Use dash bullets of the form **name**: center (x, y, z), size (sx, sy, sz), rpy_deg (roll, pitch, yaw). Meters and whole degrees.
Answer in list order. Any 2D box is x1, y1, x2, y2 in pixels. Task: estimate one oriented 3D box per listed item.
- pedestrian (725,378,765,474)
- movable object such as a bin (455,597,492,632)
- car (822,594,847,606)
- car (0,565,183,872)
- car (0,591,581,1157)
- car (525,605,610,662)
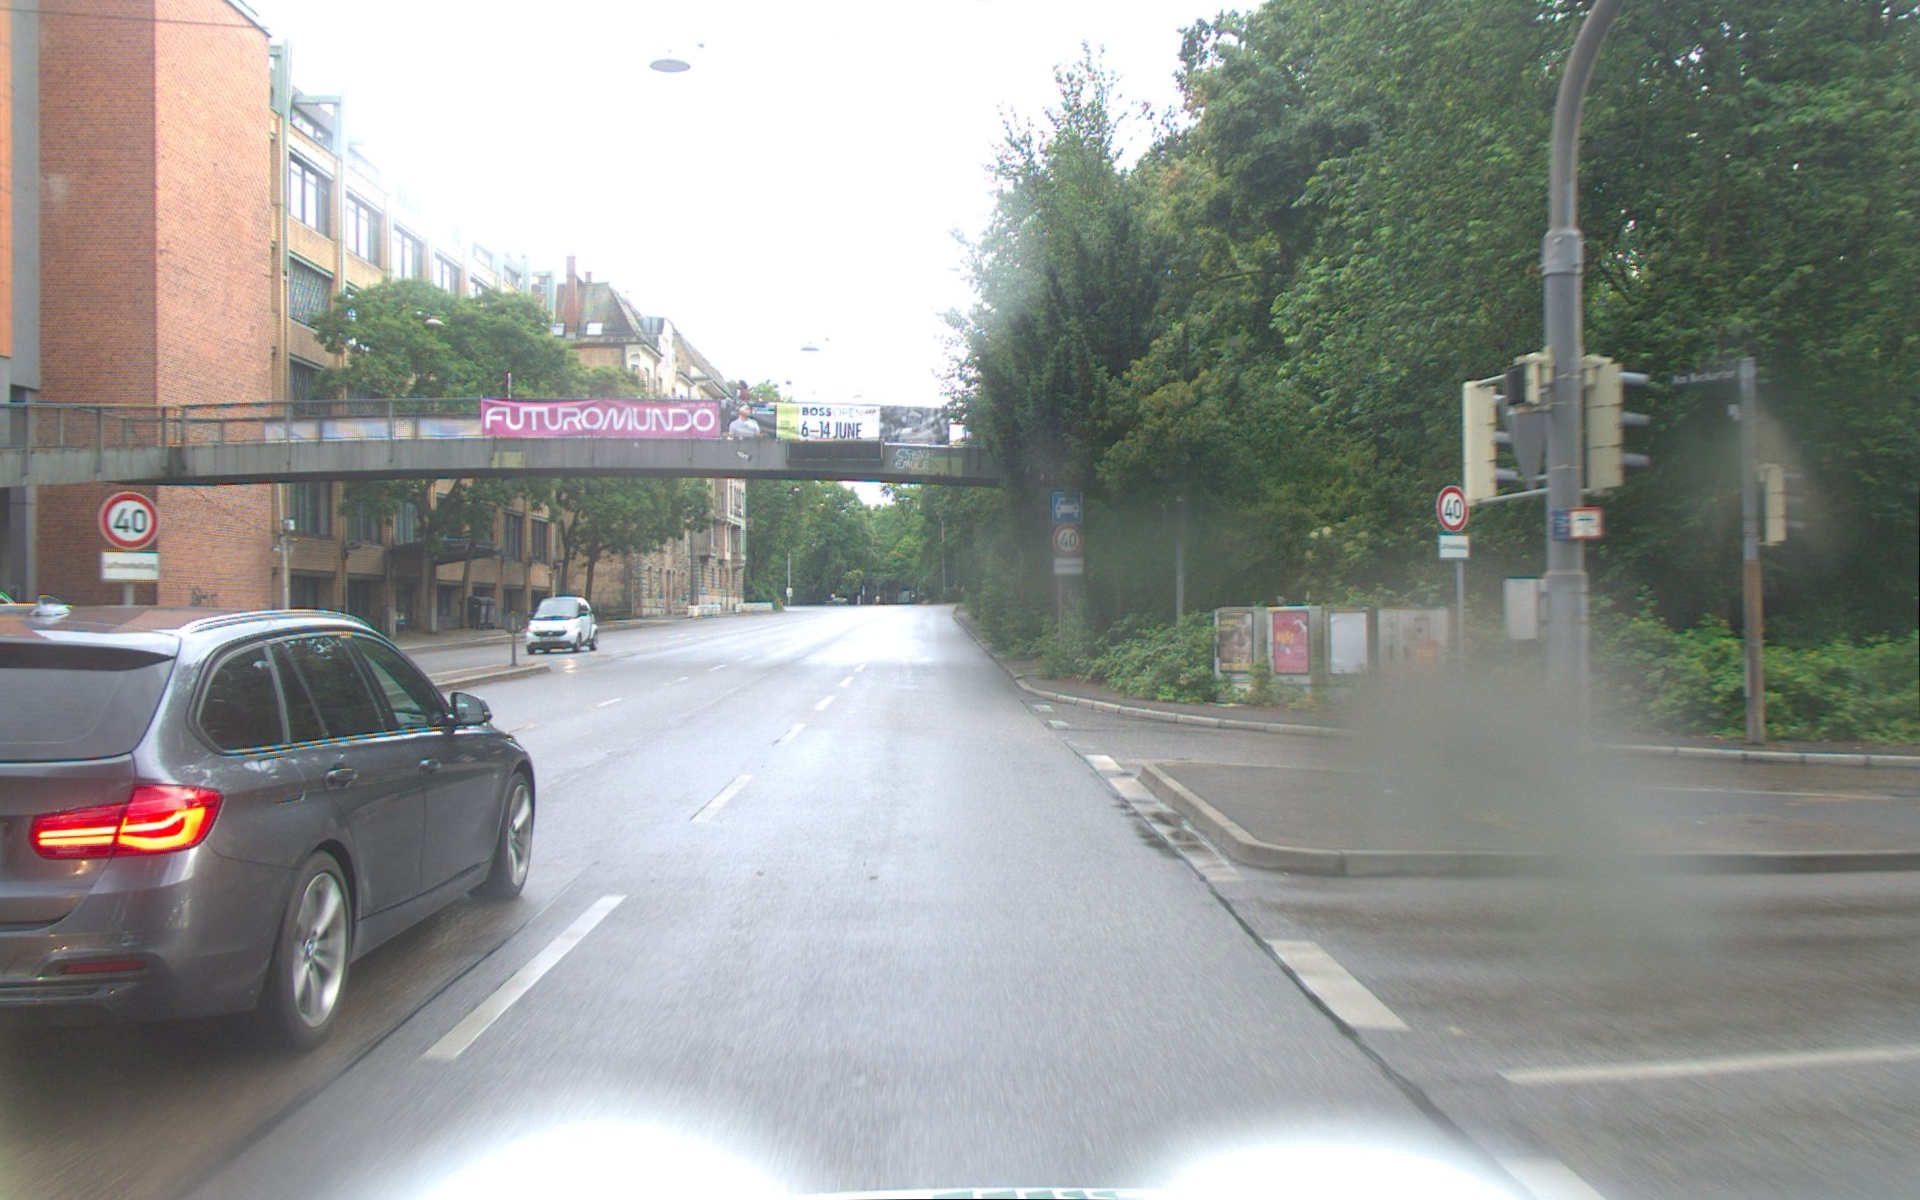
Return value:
- **pedestrian**: center (-5.641, -4.557, 43.458), size (0.936, 2.386, 1.005), rpy_deg (2, -1, -7)
- **movable object such as a bin**: center (-21.753, 0.648, 73.978), size (1.256, 1.545, 1.273), rpy_deg (0, 0, -1)
- **car**: center (-18.221, 0.070, 240.103), size (3.514, 1.574, 1.613), rpy_deg (3, -1, 1)
- **car**: center (-6.122, 0.609, 8.825), size (1.772, 1.685, 4.444), rpy_deg (2, -1, 0)
- **car**: center (-2.895, 0.728, 6.582), size (1.740, 1.483, 4.477), rpy_deg (0, 0, 0)
- **car**: center (-11.186, 0.936, 47.301), size (1.568, 1.525, 3.711), rpy_deg (-1, 0, -1)
